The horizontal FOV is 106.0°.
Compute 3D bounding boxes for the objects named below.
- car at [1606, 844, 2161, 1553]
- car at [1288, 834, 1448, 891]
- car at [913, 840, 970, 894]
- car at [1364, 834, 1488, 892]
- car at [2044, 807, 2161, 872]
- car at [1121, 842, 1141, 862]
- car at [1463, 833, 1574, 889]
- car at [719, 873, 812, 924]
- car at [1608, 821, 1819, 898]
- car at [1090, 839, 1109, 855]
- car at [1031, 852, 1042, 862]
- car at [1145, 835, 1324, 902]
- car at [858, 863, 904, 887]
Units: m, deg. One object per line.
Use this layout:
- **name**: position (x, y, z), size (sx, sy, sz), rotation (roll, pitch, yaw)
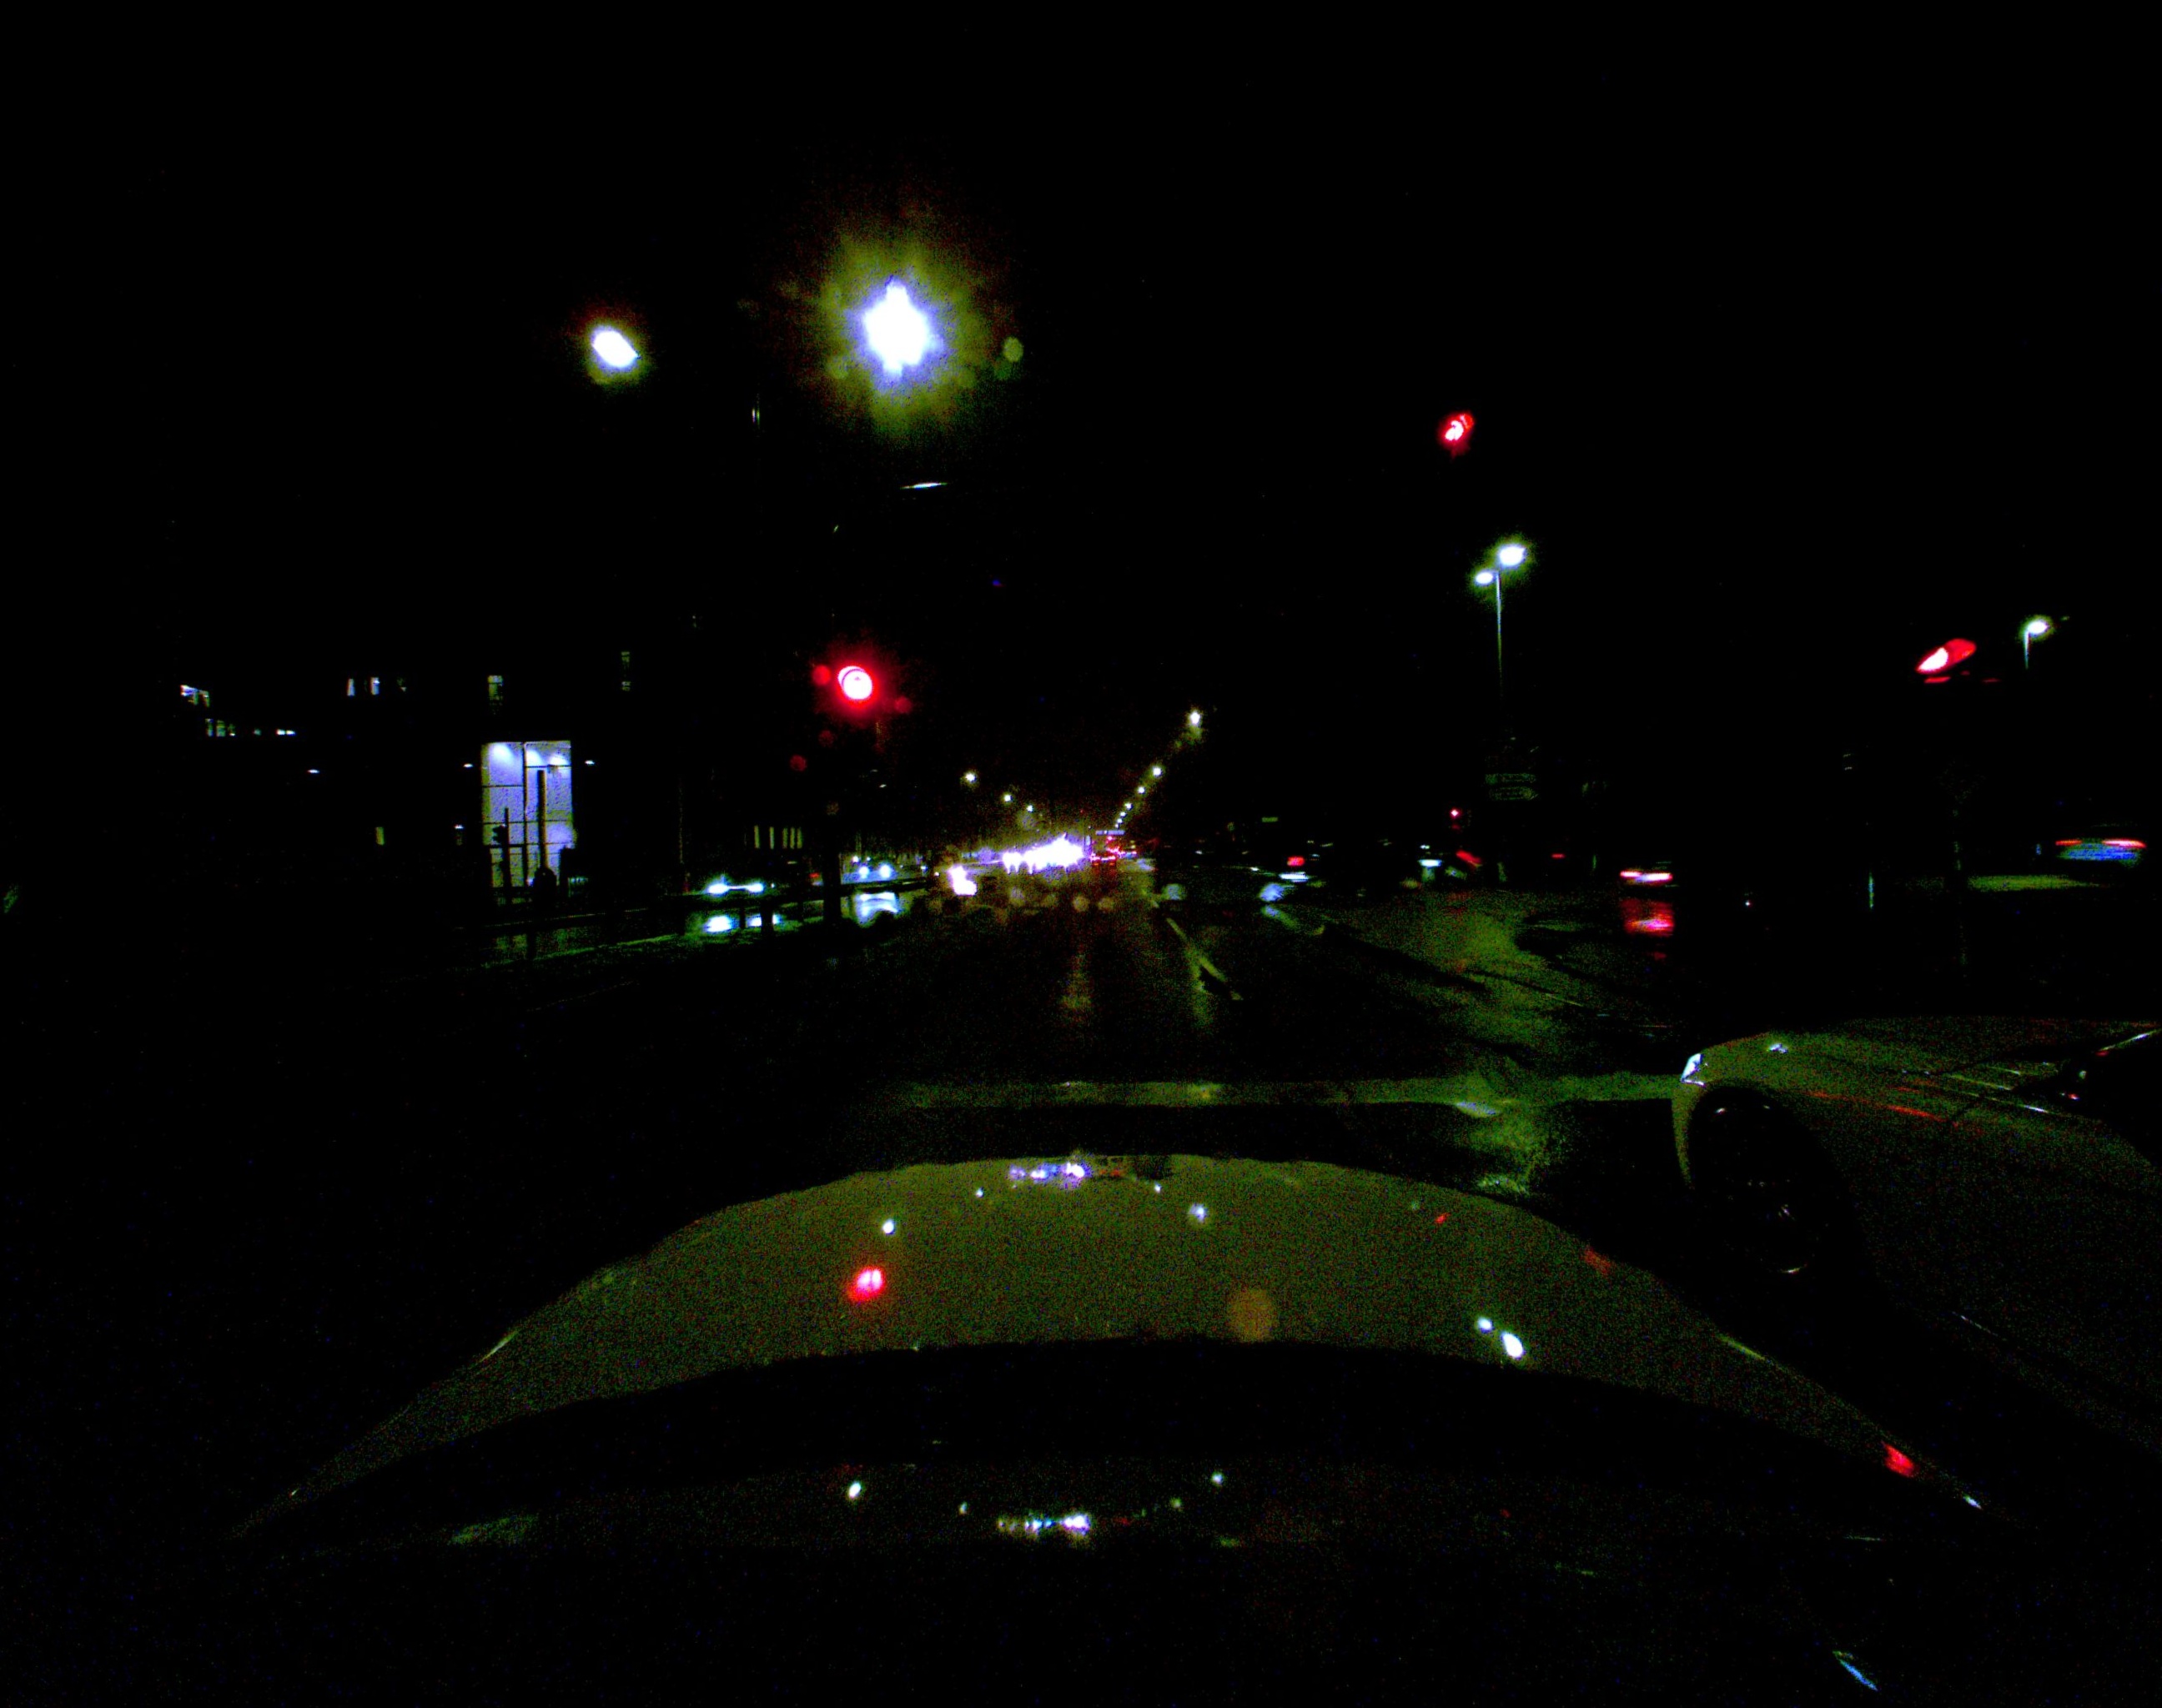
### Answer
- **car**: position (3.108, 0.714, 1.286), size (1.714, 1.446, 4.383), rotation (-3, -1, 1)
- **car**: position (8.855, 0.287, 25.157), size (4.459, 1.618, 1.918), rotation (-1, -1, 23)
- **car**: position (-5.650, 0.520, 32.714), size (1.703, 2.014, 3.545), rotation (-1, -1, -19)
- **car**: position (12.792, 0.350, 30.446), size (3.960, 2.014, 2.007), rotation (-1, -1, 12)
- **car**: position (29.564, -0.405, 22.177), size (4.431, 1.671, 1.841), rotation (-1, -1, 1)
- **car**: position (5.477, -0.198, 89.467), size (2.030, 2.014, 4.310), rotation (-1, -1, 3)
- **car**: position (18.370, 0.316, 34.374), size (3.607, 2.215, 2.222), rotation (-1, -1, 11)
- **car**: position (-10.305, 1.414, 26.862), size (1.694, 1.516, 3.565), rotation (-1, -1, -1)
- **car**: position (15.378, 0.133, 19.963), size (3.734, 1.734, 1.725), rotation (-1, -1, 5)
- **car**: position (2.555, -0.937, 115.359), size (2.434, 2.194, 5.076), rotation (-1, -1, -1)
- **car**: position (-8.046, 0.555, 147.231), size (1.744, 1.709, 4.498), rotation (-3, -1, 0)
- **car**: position (4.168, 0.412, 22.224), size (4.360, 1.672, 1.971), rotation (-1, -1, 30)
- **car**: position (-12.794, 1.327, 52.387), size (1.817, 1.464, 4.001), rotation (-1, -1, 2)
